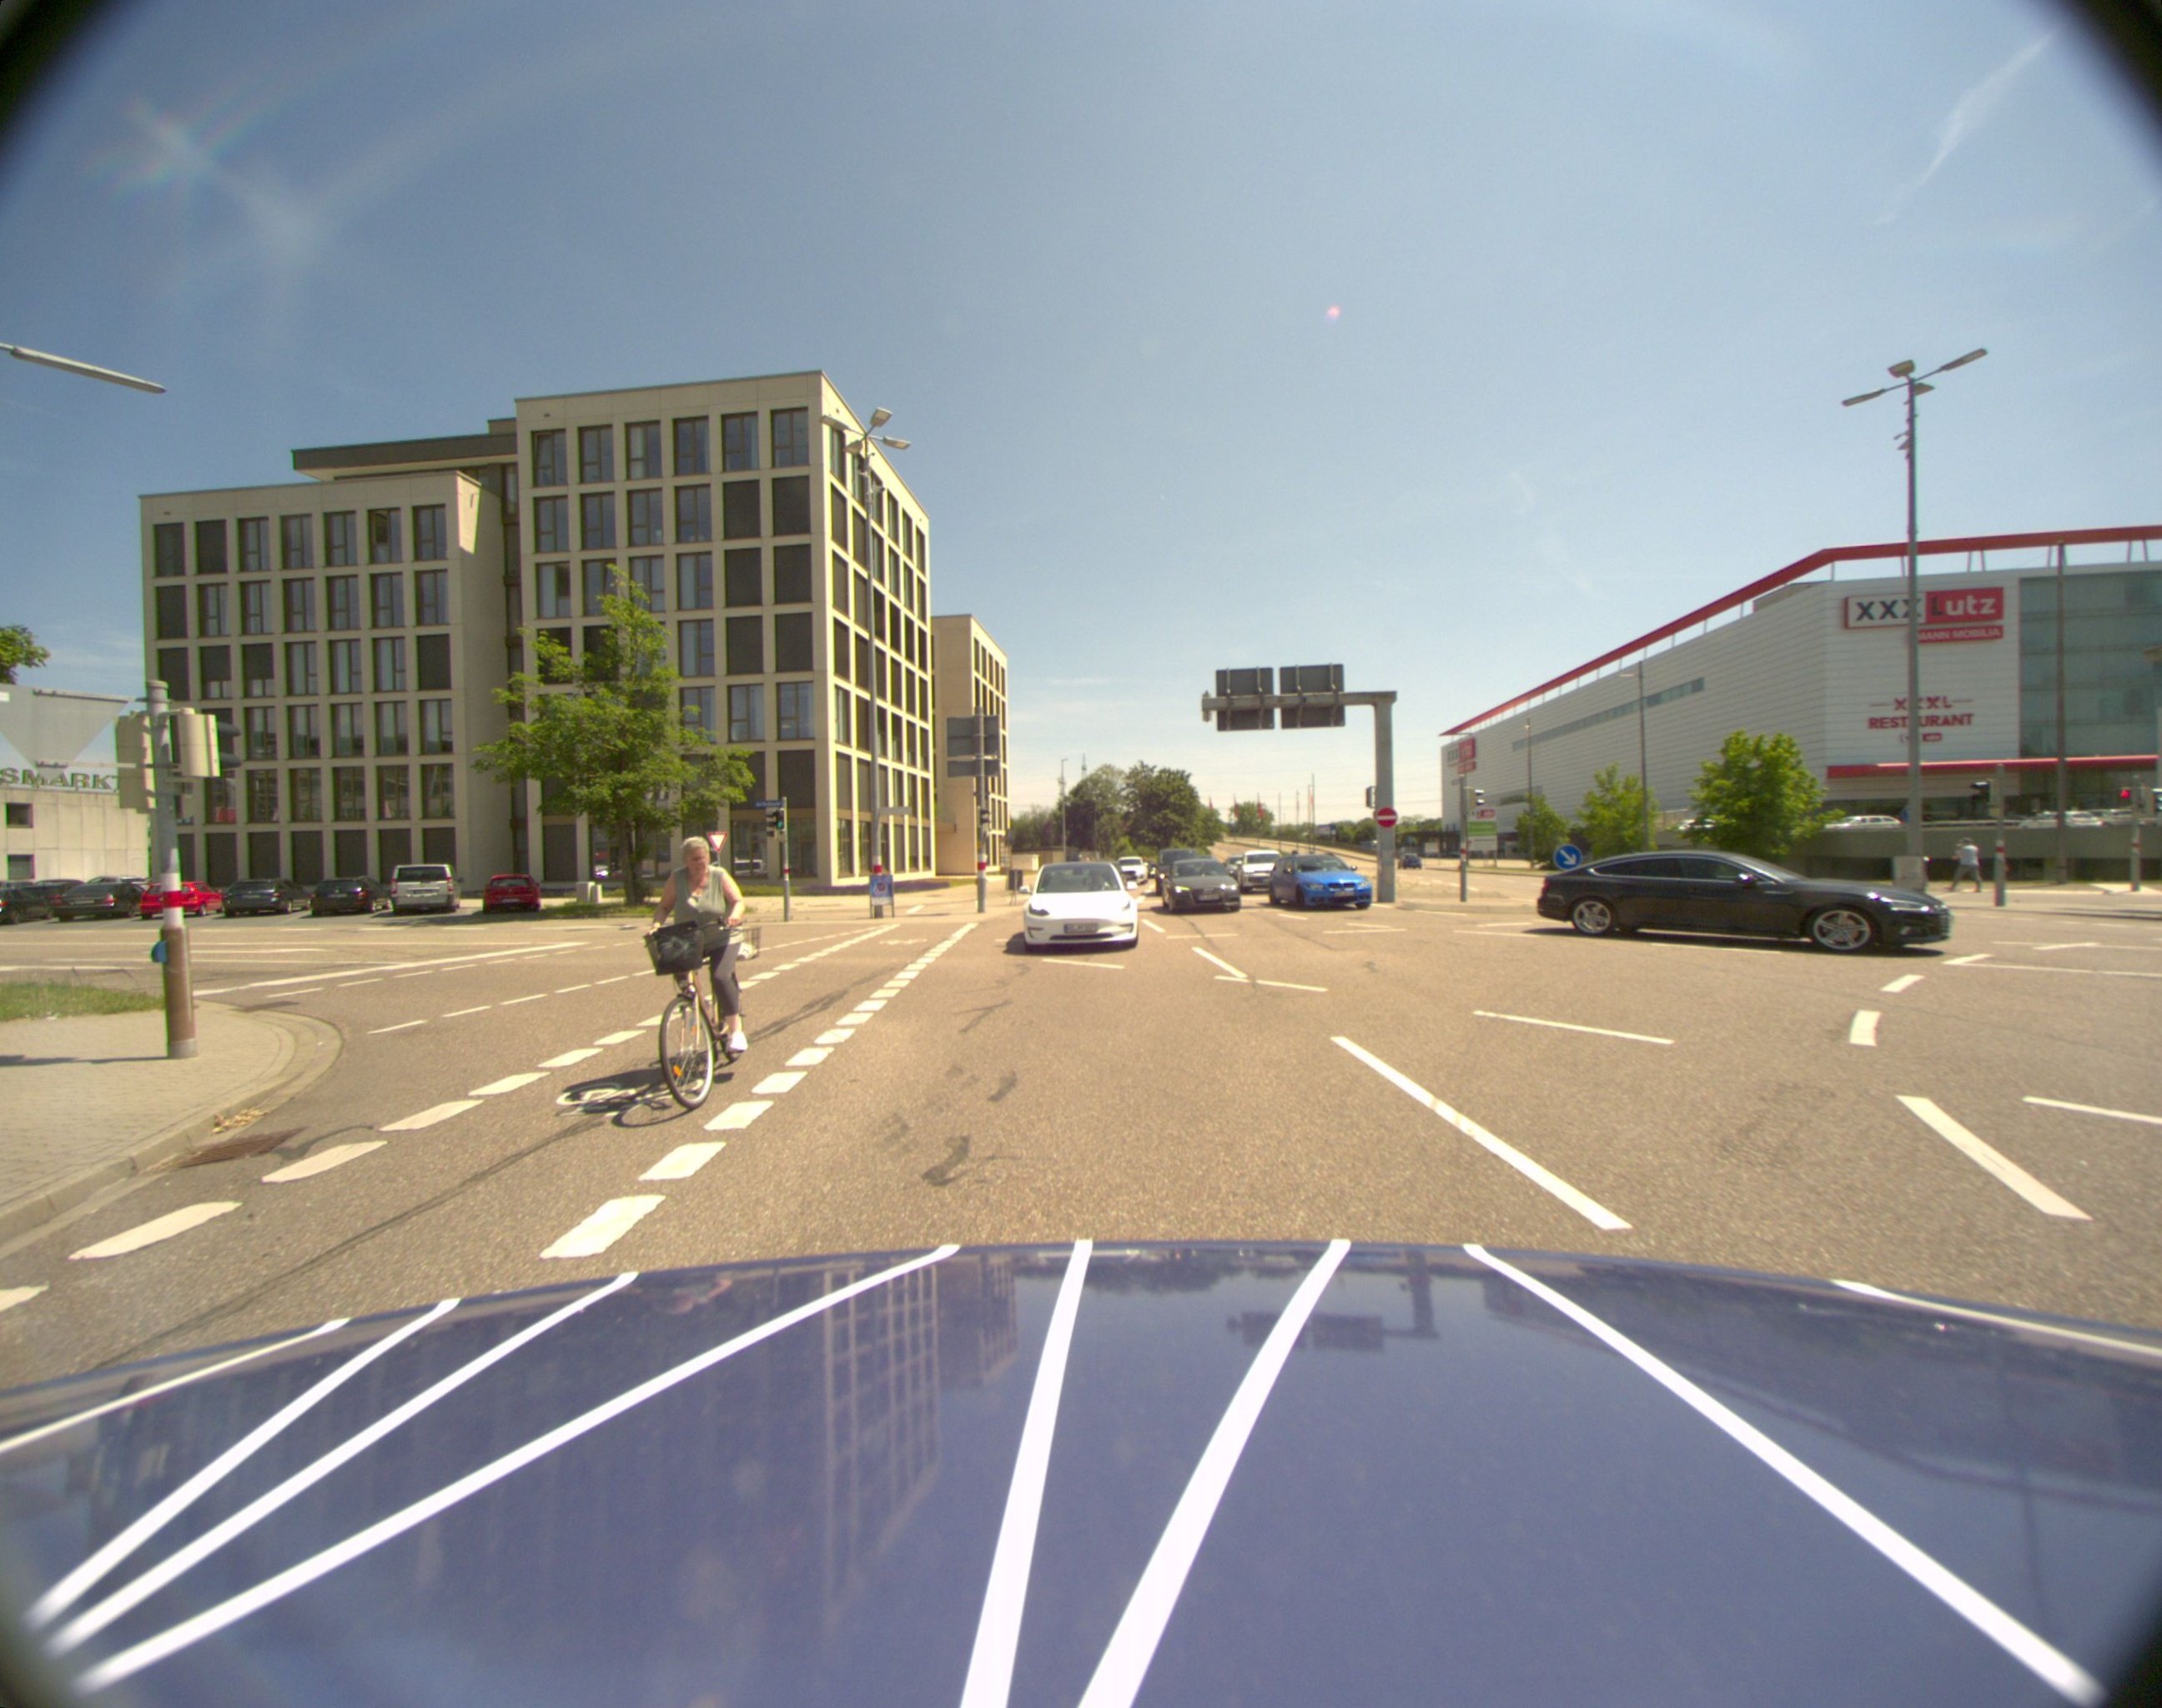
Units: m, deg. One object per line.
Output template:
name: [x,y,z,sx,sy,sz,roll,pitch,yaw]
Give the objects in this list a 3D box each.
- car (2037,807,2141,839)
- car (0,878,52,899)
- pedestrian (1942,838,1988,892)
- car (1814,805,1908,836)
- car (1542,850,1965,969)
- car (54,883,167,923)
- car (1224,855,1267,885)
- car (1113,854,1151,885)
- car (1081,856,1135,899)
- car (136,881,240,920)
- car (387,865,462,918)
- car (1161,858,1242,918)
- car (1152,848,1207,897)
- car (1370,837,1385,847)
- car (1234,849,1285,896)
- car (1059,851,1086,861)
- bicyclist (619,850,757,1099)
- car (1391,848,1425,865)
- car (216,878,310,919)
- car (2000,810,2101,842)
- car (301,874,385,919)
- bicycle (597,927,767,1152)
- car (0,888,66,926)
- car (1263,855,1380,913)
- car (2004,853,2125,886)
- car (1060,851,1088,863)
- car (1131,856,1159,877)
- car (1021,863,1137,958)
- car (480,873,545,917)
car: [67.817,-2.059,51.230,1.781,2.002,4.137,-1,1,7]
car: [-68.012,2.208,48.108,3.994,1.149,1.696,-3,0,9]
pedestrian: [29.614,0.366,25.461,0.604,1.773,0.827,-1,1,10]
car: [54.386,-2.307,53.055,4.467,2.002,1.680,-1,0,9]
car: [9.682,0.688,11.361,1.680,1.396,4.455,-1,0,-35]
car: [-39.423,1.954,30.996,1.878,1.367,3.989,-1,0,-38]
car: [8.574,0.803,39.304,1.767,1.414,3.904,-3,-1,17]
car: [3.034,0.879,44.297,1.777,1.600,3.823,-1,1,10]
car: [1.136,0.907,30.549,1.555,1.528,3.824,-3,0,10]
car: [-36.304,1.826,31.015,1.923,1.345,3.989,-1,0,-38]
car: [-26.002,1.424,30.238,1.923,1.875,4.920,-2,0,-38]
car: [3.190,0.853,20.813,1.769,1.374,4.090,-2,0,3]
car: [4.185,0.683,31.579,1.894,1.810,4.840,-2,0,11]
car: [66.912,-2.669,171.488,2.190,2.270,4.817,-1,0,10]
car: [7.016,0.657,29.980,1.768,1.631,4.495,-3,0,13]
car: [-1.247,0.334,112.612,3.832,1.386,1.737,-1,0,-7]
bicyclist: [-2.757,0.790,5.421,0.630,1.596,0.824,-3,0,-15]
car: [32.136,0.258,74.841,1.997,1.587,4.002,-1,0,7]
car: [-33.210,1.739,30.967,1.923,1.431,3.989,-1,0,-38]
car: [65.563,-1.859,51.489,1.781,2.002,4.235,-1,1,7]
car: [-29.306,1.636,30.301,1.923,1.580,3.989,-1,0,-38]
bicycle: [-2.761,1.191,5.475,0.630,1.126,1.892,-3,0,-15]
car: [-41.866,2.055,29.485,1.923,1.325,3.989,-1,0,-38]
car: [6.361,0.765,20.626,1.769,1.394,4.432,0,-1,0]
car: [55.039,0.863,42.576,3.996,1.696,2.000,-1,0,4]
car: [-0.989,0.444,110.678,3.832,1.543,1.737,-1,0,-7]
car: [4.707,0.903,55.382,1.768,1.395,3.953,-2,0,8]
car: [-0.191,0.945,14.570,1.824,1.427,4.282,-3,0,-4]
car: [-22.277,1.545,29.900,1.702,1.424,3.990,-2,1,-33]
